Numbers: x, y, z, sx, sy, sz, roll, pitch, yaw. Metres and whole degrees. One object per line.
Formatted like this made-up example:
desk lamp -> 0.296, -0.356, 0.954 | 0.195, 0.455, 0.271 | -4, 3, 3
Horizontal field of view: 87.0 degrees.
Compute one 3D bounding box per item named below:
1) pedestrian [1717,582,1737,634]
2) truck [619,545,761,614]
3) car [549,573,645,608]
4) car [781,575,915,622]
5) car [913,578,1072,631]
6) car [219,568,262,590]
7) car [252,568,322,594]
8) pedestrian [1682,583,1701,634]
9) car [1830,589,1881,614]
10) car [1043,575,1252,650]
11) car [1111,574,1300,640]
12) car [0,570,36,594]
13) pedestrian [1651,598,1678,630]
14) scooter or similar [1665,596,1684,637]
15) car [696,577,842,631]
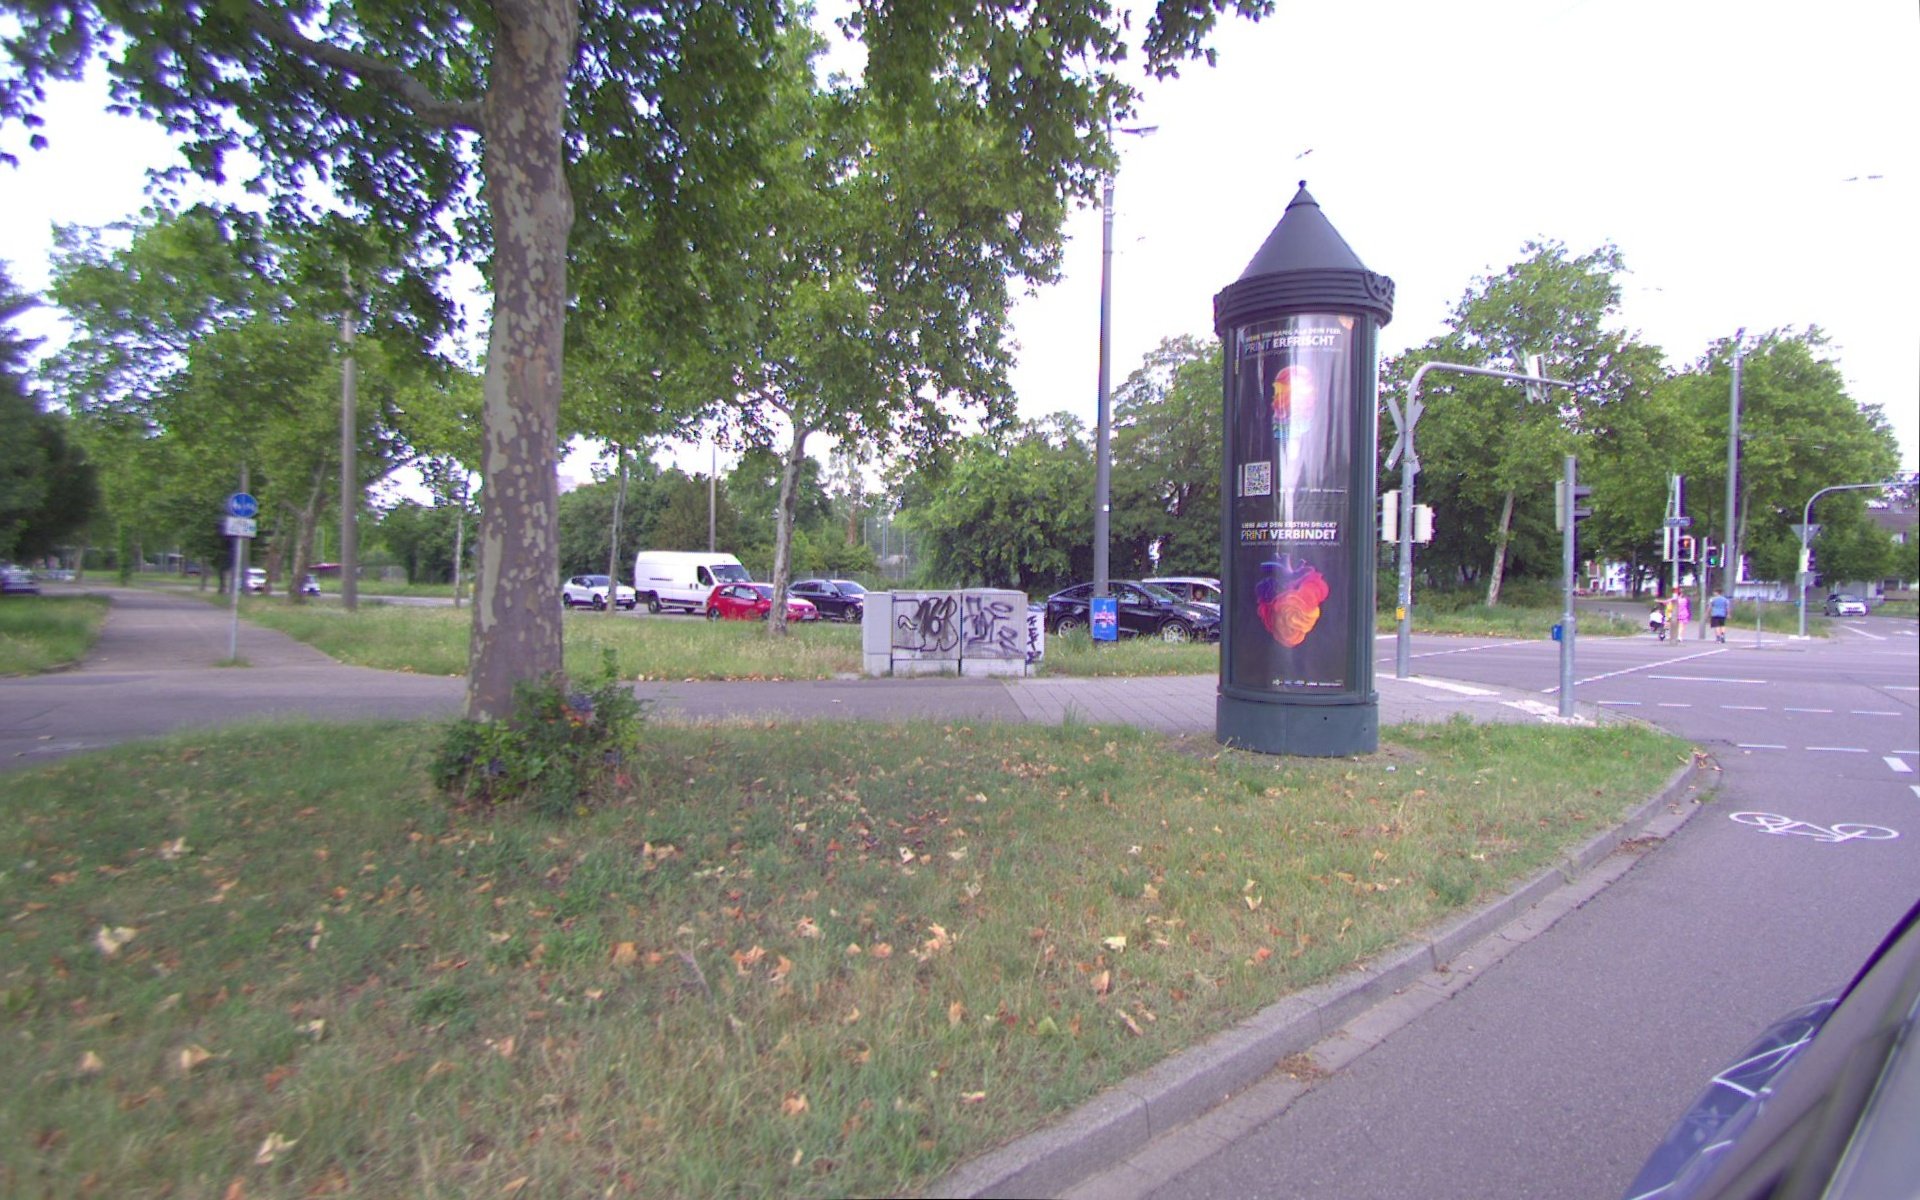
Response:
pedestrian -> 22.442, 0.227, 29.603 | 0.417, 1.527, 0.445 | 1, 1, 35
truck -> -11.181, -0.876, 41.634 | 6.474, 2.628, 2.187 | 2, 1, 38
car -> -16.813, -0.470, 46.755 | 4.660, 1.532, 1.974 | 2, 2, 37
car -> -4.007, -0.102, 35.781 | 4.660, 1.532, 1.974 | 2, 2, 37
car -> 0.972, 0.083, 31.567 | 4.722, 1.487, 1.974 | 2, 2, 37
car -> -58.653, -1.723, 82.506 | 3.983, 1.727, 1.971 | 2, 1, 41
car -> -40.891, -1.192, 61.467 | 4.656, 1.532, 1.976 | 1, 2, 35
pedestrian -> 21.867, 0.243, 30.257 | 0.417, 1.527, 0.388 | 1, 1, 36
car -> 61.546, 0.095, 69.653 | 1.853, 1.665, 4.188 | 0, 1, 31
car -> 4.500, 0.220, 24.691 | 4.661, 1.630, 1.974 | 2, 2, 37
car -> 6.668, 0.126, 27.693 | 4.660, 1.630, 1.974 | 2, 2, 37
car -> -56.808, -1.114, 60.930 | 1.651, 1.408, 3.299 | 0, 2, -44
pedestrian -> 24.094, 0.480, 34.628 | 0.718, 1.047, 0.890 | 1, 1, 37
scooter or similar -> 21.308, 0.472, 30.181 | 0.392, 1.175, 1.103 | 1, 1, 33
car -> -6.139, 0.071, 32.338 | 4.660, 1.532, 1.974 | 2, 2, 37
